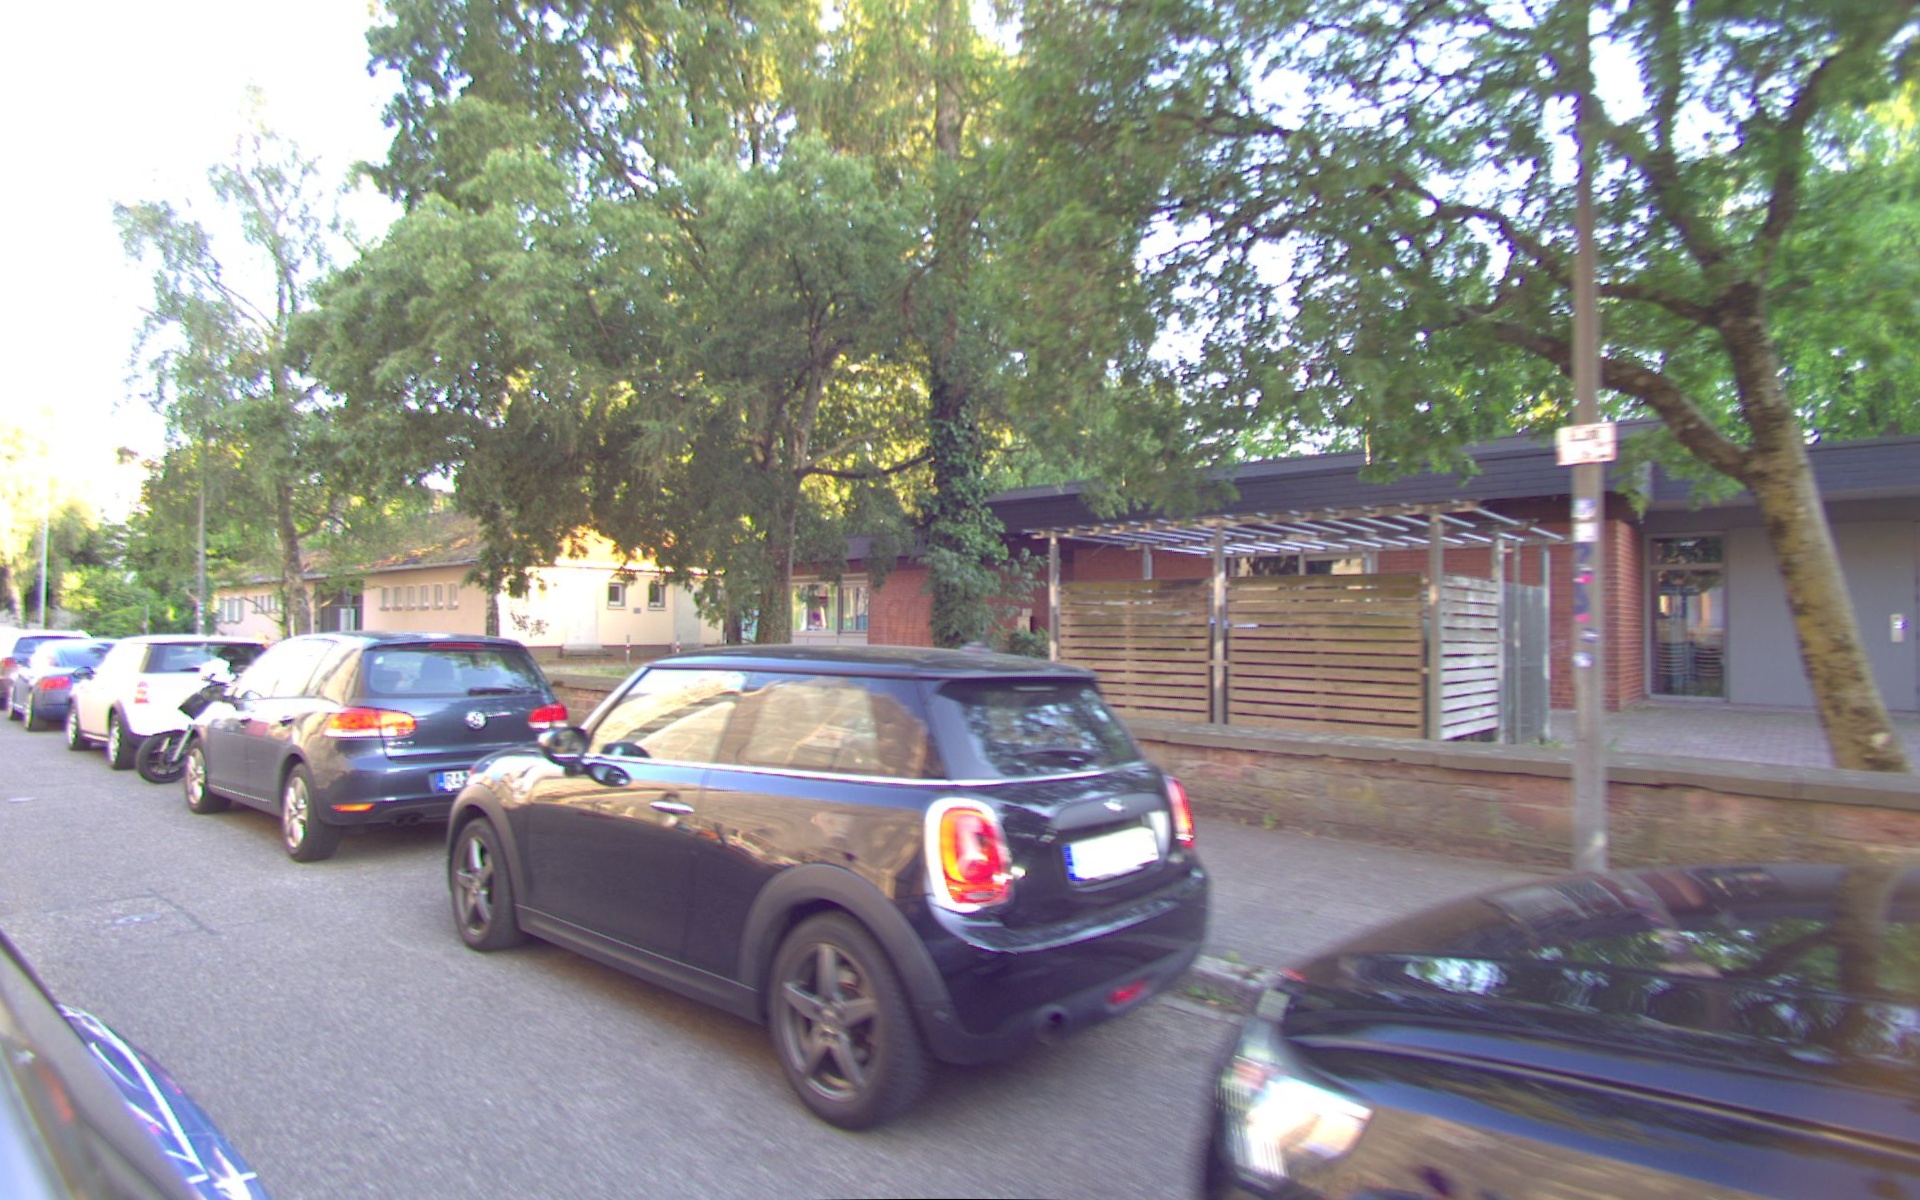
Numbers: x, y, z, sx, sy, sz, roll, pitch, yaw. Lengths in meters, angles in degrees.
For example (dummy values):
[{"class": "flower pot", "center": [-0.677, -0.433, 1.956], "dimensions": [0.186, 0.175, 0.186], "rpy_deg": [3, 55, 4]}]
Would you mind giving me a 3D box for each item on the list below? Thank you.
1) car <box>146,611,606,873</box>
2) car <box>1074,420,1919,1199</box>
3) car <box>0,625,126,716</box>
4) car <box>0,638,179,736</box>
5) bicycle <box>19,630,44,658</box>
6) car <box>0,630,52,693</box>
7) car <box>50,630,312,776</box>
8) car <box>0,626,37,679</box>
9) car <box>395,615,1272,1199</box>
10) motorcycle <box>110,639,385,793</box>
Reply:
[{"class": "car", "center": [-4.735, 0.898, 7.923], "dimensions": [4.357, 1.508, 1.698], "rpy_deg": [-1, -4, 40]}, {"class": "car", "center": [2.324, 0.654, 0.233], "dimensions": [1.782, 1.581, 4.571], "rpy_deg": [2, -3, -41]}, {"class": "car", "center": [-17.790, 1.290, 19.492], "dimensions": [4.755, 1.550, 1.840], "rpy_deg": [-1, -3, 41]}, {"class": "car", "center": [-13.849, 1.291, 15.967], "dimensions": [4.153, 1.323, 1.641], "rpy_deg": [-2, -4, 42]}, {"class": "bicycle", "center": [-39.003, 1.841, 42.496], "dimensions": [1.953, 1.126, 0.538], "rpy_deg": [-2, -2, 40]}, {"class": "car", "center": [-24.030, 1.469, 24.946], "dimensions": [4.745, 1.457, 1.764], "rpy_deg": [-1, -5, 41]}, {"class": "car", "center": [-9.236, 1.114, 11.896], "dimensions": [3.800, 1.442, 1.585], "rpy_deg": [-1, -5, 40]}, {"class": "car", "center": [-28.275, 1.484, 29.065], "dimensions": [3.995, 1.464, 1.974], "rpy_deg": [-1, -2, 38]}, {"class": "car", "center": [-0.862, 0.859, 4.462], "dimensions": [3.991, 1.489, 1.619], "rpy_deg": [-1, -4, 42]}, {"class": "motorcycle", "center": [-6.932, 1.070, 9.974], "dimensions": [2.135, 1.313, 0.882], "rpy_deg": [0, -1, -35]}]
